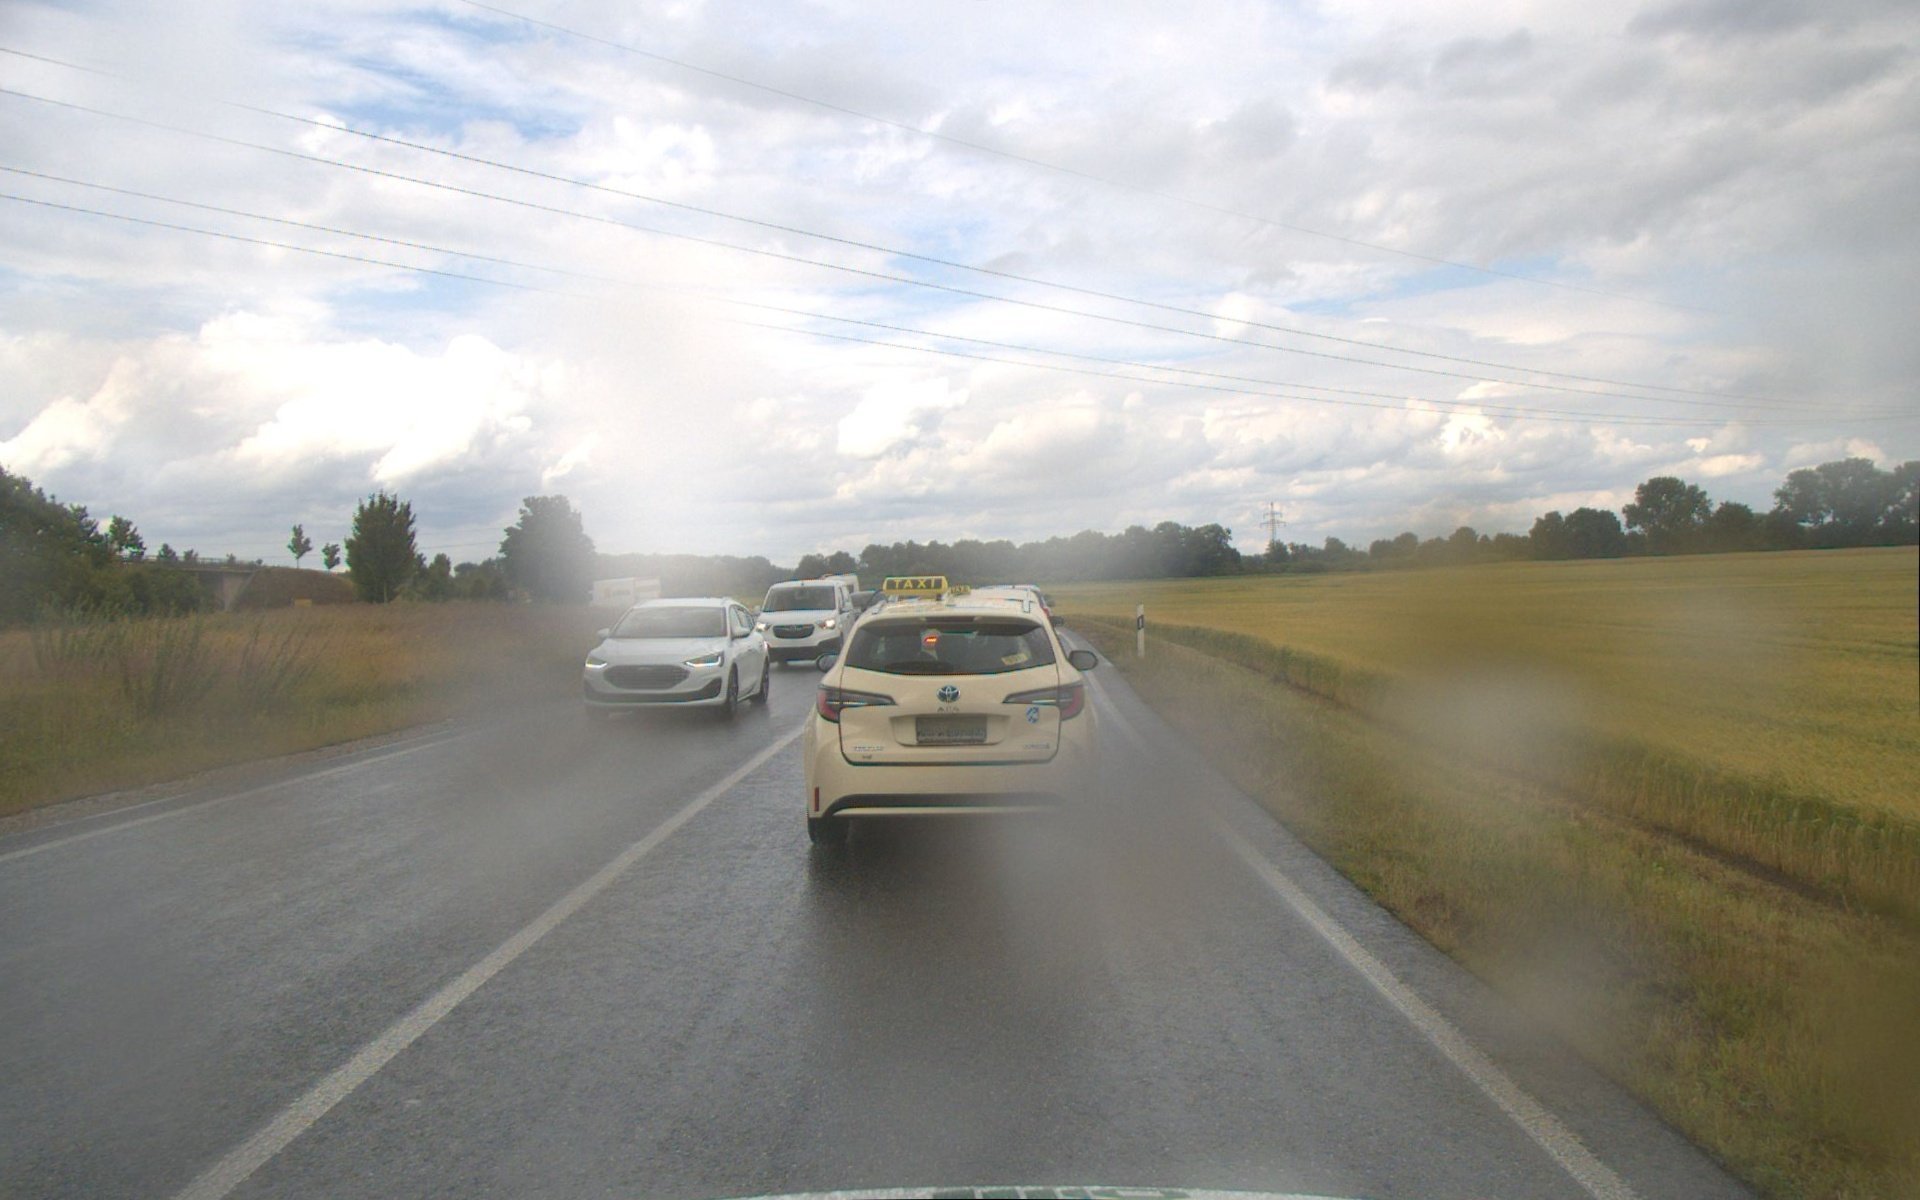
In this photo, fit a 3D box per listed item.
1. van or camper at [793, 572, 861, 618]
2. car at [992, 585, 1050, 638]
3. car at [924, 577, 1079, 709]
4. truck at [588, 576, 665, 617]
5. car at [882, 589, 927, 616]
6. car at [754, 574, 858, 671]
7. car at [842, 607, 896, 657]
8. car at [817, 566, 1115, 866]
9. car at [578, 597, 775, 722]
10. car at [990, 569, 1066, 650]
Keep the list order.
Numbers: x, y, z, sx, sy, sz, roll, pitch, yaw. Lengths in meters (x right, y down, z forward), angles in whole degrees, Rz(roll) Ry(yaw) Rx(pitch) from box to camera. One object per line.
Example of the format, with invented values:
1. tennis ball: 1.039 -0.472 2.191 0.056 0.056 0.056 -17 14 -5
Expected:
1. van or camper: -8.767 -0.314 108.378 2.502 2.946 6.694 1 0 -23
2. car: 1.718 0.358 47.004 1.579 1.438 3.739 1 -1 2
3. car: 0.502 0.507 21.621 1.803 1.518 4.608 1 0 0
4. truck: -28.011 -0.265 138.695 2.994 3.266 8.117 2 -2 -39
5. car: -3.098 0.151 91.757 1.753 1.438 3.725 1 -1 -14
6. car: -3.186 0.465 34.989 1.807 1.888 4.446 1 0 -1
7. car: -3.207 1.092 58.996 1.811 1.660 4.533 -1 0 -2
8. car: 0.072 0.662 10.757 1.579 1.590 3.738 1 -1 1
9. car: -3.492 0.698 21.126 1.807 1.412 4.286 1 0 -1
10. car: 1.461 0.247 36.705 1.579 1.688 3.738 1 -1 1
